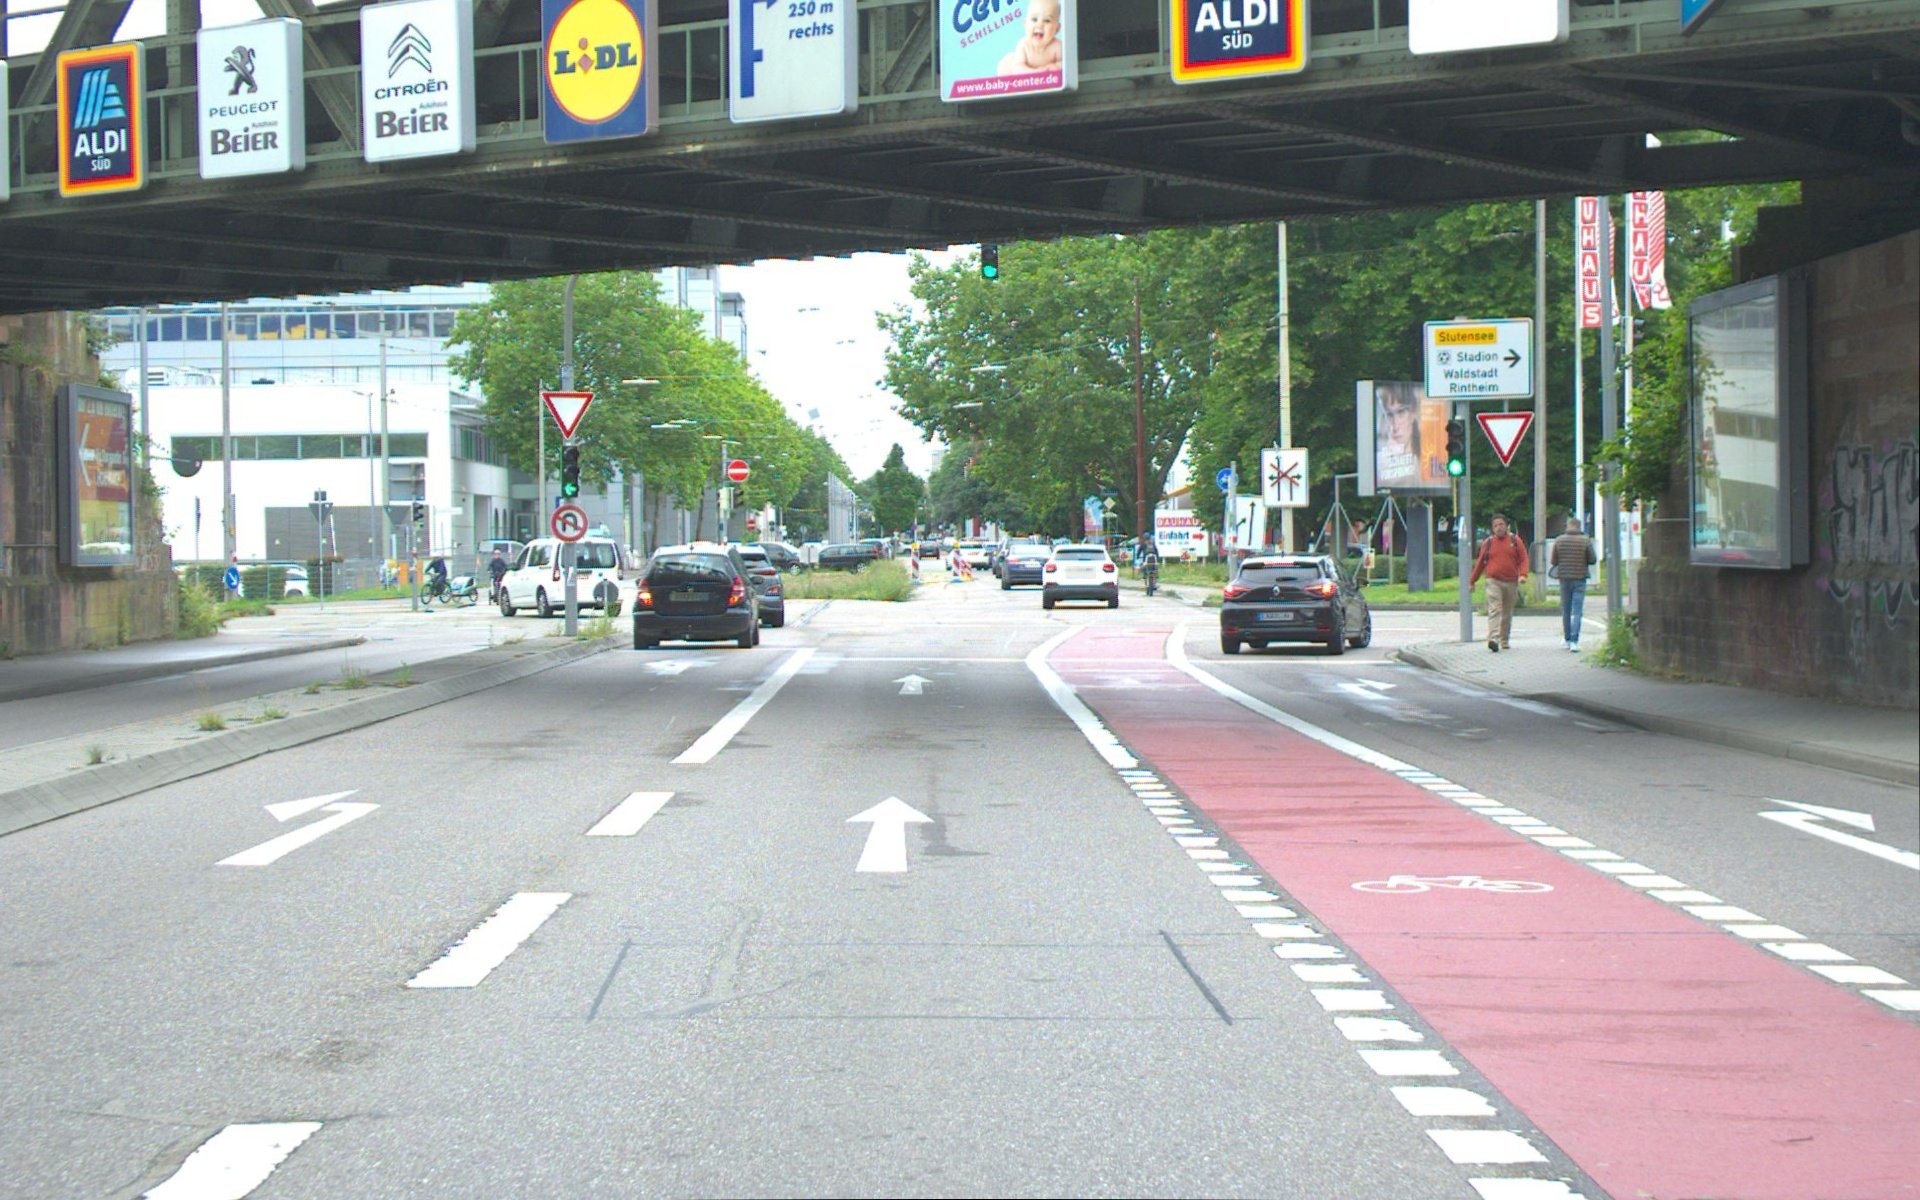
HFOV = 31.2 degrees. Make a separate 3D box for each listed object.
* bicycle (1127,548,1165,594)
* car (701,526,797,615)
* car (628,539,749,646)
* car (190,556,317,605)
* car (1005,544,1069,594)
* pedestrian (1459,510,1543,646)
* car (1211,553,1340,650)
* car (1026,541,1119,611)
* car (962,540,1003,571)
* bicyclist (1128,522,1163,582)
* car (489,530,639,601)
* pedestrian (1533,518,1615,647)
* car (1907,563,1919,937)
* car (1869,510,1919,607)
[{"bbox_3d":[5.115,-0.804,94.607,0.816,1.208,2.683,-1,1,-1],"label":"bicycle"},{"bbox_3d":[-4.069,-0.590,66.137,1.772,1.647,3.670,0,2,-4],"label":"car"},{"bbox_3d":[-4.092,-0.141,52.124,1.768,1.522,3.670,0,2,-4],"label":"car"},{"bbox_3d":[-23.201,-0.646,112.992,3.660,1.522,1.773,-1,1,18],"label":"car"},{"bbox_3d":[2.420,-0.994,108.734,1.684,1.508,3.706,0,2,-4],"label":"car"},{"bbox_3d":[7.105,-0.295,45.150,0.871,1.753,0.788,-1,1,-9],"label":"pedestrian"},{"bbox_3d":[4.466,-0.002,49.095,1.647,1.276,3.419,0,2,2],"label":"car"},{"bbox_3d":[2.641,-0.588,81.520,1.823,1.595,3.776,0,2,-4],"label":"car"},{"bbox_3d":[1.121,-2.267,173.875,1.795,1.508,3.706,0,2,-4],"label":"car"},{"bbox_3d":[5.101,-1.322,94.595,0.816,1.624,1.235,-1,1,-1],"label":"bicyclist"},{"bbox_3d":[-9.104,-0.816,78.674,1.961,1.522,5.012,0,2,-24],"label":"car"},{"bbox_3d":[7.923,-0.228,44.348,0.743,1.634,0.777,0,1,40],"label":"pedestrian"},{"bbox_3d":[4.522,0.627,11.405,1.679,1.426,3.774,0,2,0],"label":"car"},{"bbox_3d":[19.569,-0.784,64.652,4.415,1.822,1.877,0,0,33],"label":"car"}]
